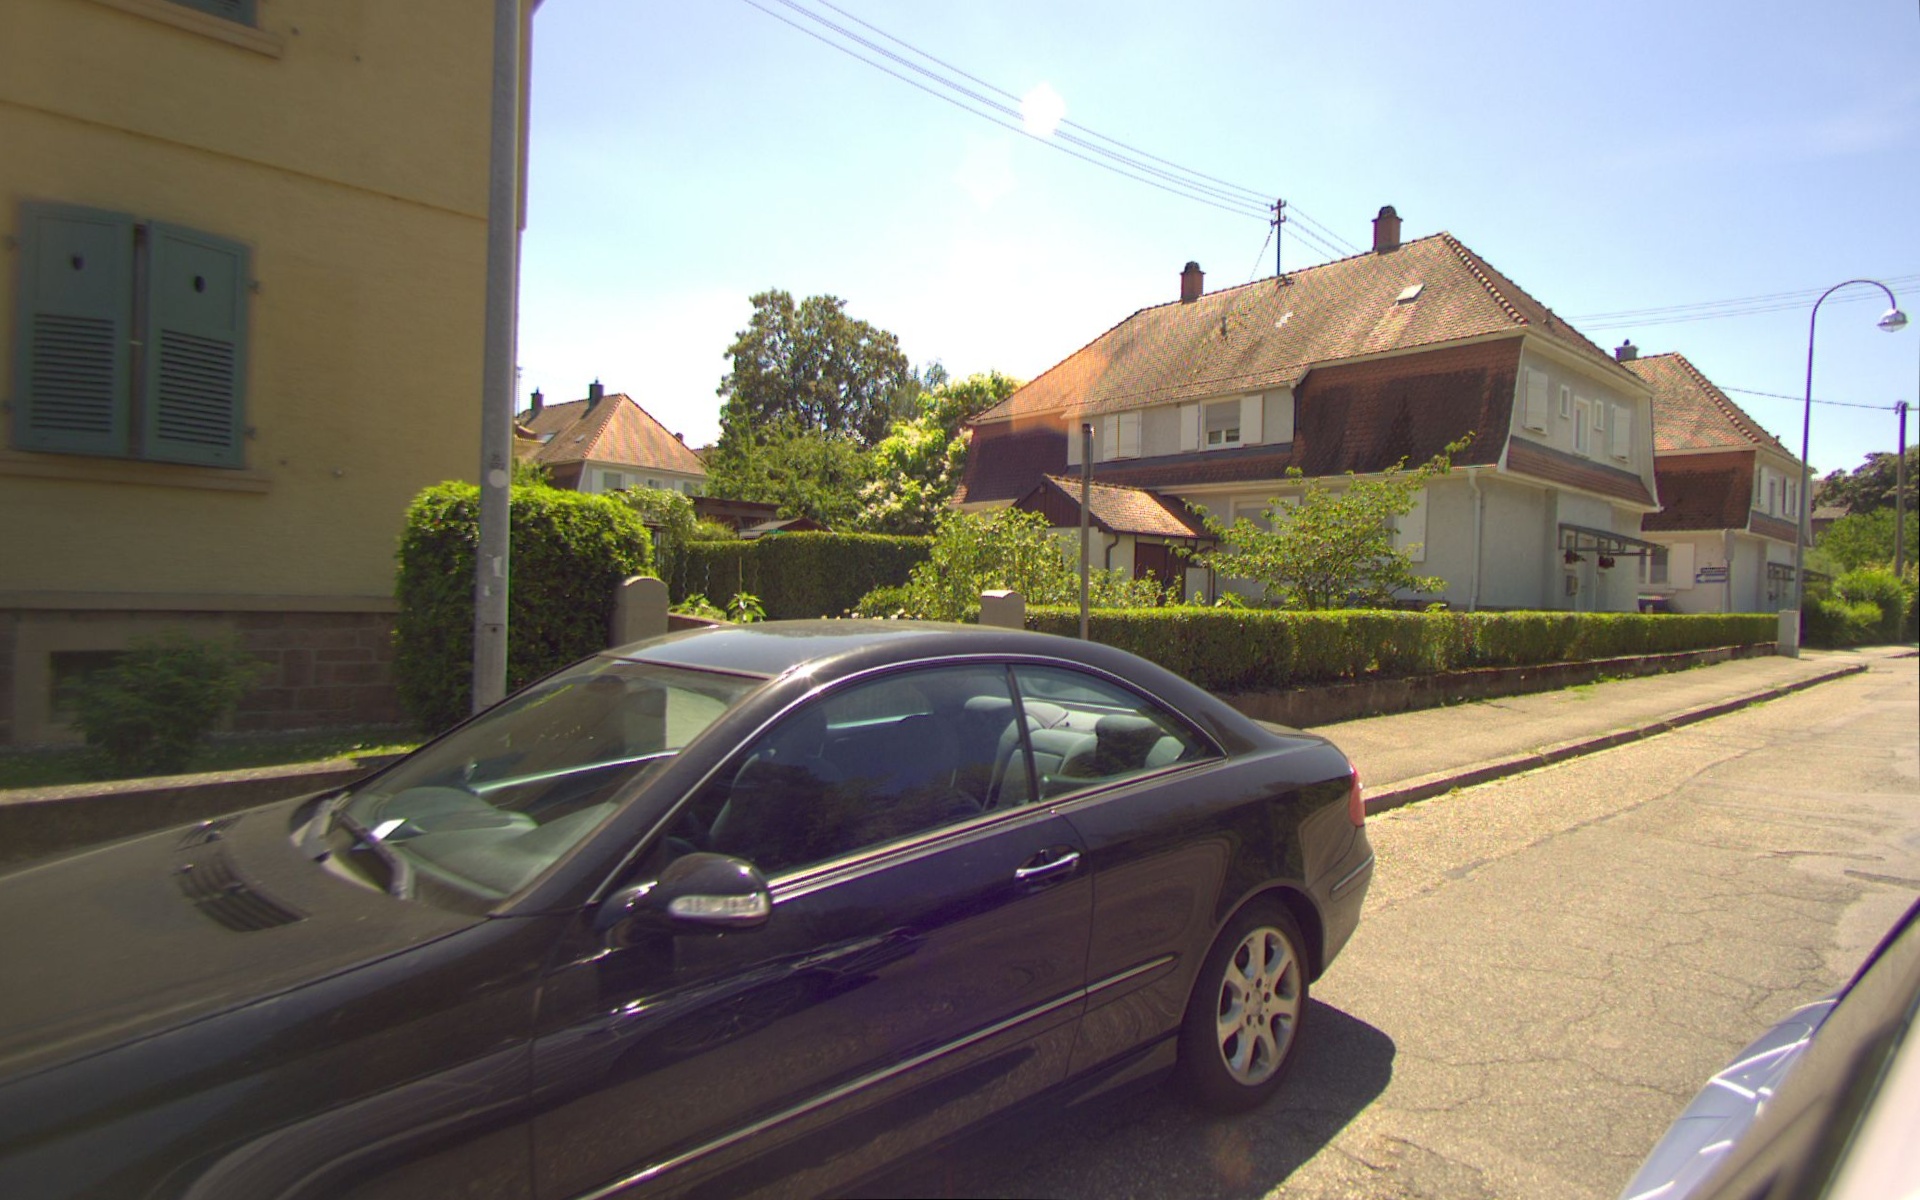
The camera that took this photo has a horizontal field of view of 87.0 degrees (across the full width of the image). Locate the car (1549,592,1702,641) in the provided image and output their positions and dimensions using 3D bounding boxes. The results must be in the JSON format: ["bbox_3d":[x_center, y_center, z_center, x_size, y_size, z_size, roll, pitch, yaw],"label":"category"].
[{"bbox_3d":[22.281,0.499,33.987,1.664,1.555,4.002,0,0,-41],"label":"car"}]

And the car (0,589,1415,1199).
[{"bbox_3d":[-0.654,0.706,2.683,4.472,1.436,1.696,-1,1,-41],"label":"car"}]
